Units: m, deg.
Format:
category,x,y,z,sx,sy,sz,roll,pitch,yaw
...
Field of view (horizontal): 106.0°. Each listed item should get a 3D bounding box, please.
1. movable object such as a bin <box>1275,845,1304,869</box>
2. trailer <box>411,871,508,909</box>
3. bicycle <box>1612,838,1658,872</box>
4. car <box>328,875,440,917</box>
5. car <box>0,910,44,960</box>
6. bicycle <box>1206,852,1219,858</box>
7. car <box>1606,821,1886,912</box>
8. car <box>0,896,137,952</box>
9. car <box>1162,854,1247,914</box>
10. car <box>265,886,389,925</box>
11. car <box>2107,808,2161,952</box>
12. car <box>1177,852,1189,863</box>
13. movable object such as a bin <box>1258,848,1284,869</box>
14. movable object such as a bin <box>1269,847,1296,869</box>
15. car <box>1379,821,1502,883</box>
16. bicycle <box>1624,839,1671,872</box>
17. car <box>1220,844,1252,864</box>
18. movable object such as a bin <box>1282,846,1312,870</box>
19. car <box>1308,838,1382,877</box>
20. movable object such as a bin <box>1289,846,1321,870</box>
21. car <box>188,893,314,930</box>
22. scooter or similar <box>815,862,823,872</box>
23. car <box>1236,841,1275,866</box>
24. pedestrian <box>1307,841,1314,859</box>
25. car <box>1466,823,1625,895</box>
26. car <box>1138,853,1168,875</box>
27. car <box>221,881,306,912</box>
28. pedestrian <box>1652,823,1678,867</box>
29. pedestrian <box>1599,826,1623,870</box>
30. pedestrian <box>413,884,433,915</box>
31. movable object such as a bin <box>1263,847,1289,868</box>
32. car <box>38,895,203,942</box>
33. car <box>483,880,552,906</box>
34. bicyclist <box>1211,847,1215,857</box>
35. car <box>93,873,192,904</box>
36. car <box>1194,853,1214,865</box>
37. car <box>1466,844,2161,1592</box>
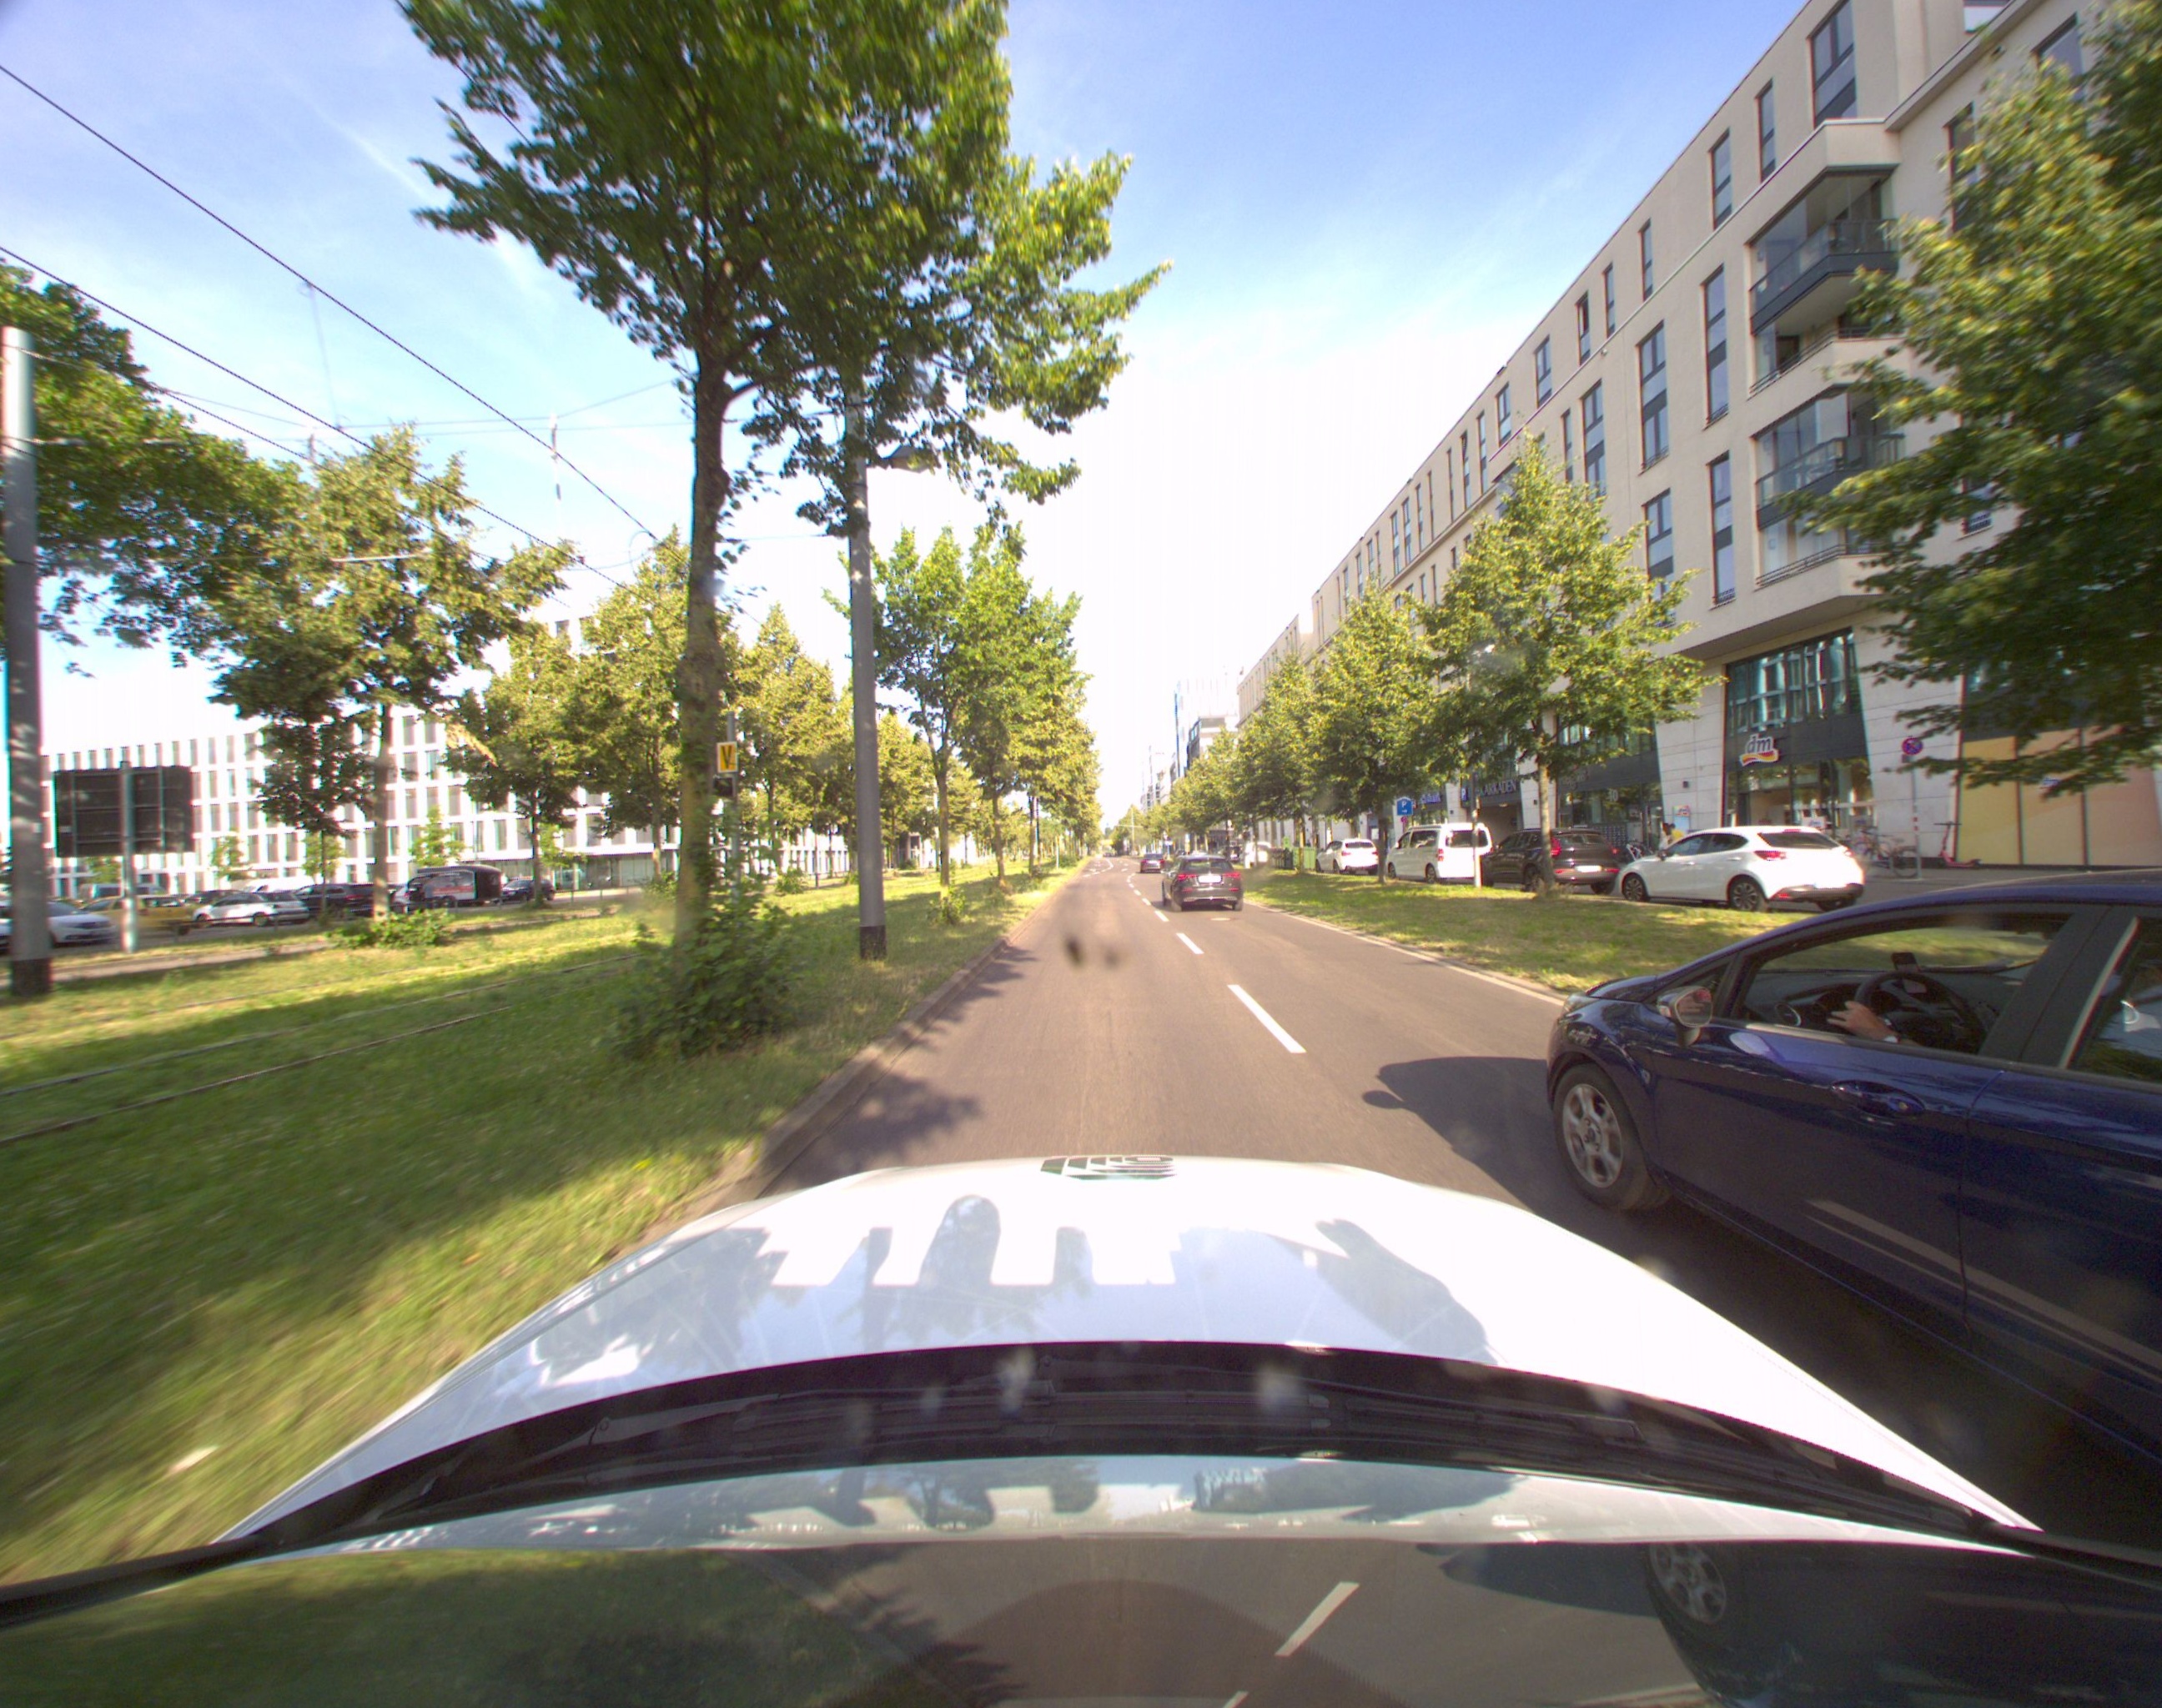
category,x,y,z,sx,sy,sz,roll,pitch,yaw
movable object such as a bin,11.858,0.171,46.325,1.274,1.317,1.190,-1,-1,-3
trailer,-34.775,2.005,45.638,4.339,2.054,1.762,-1,-1,8
bicycle,18.999,0.038,27.982,0.343,1.081,1.733,-6,-1,2
car,-34.113,2.045,39.922,3.977,1.947,1.758,-1,-1,1
car,-34.324,2.480,24.653,3.631,1.428,1.811,-1,-1,3
bicycle,22.820,0.175,141.012,2.129,1.013,0.571,-1,-1,-3
car,11.682,0.208,14.738,1.611,1.412,4.165,-1,0,-1
car,-35.197,2.325,27.315,5.038,1.735,1.887,-1,-1,3
car,3.189,0.740,21.694,1.767,1.424,3.962,-1,0,2
car,-34.109,2.303,36.892,3.977,1.643,1.758,-1,-1,1
car,11.530,0.238,6.152,1.721,1.432,4.724,-1,0,2
car,14.150,0.495,112.968,1.598,1.370,4.164,-1,0,6
movable object such as a bin,11.725,0.292,50.346,1.274,1.291,1.177,-1,-1,-3
movable object such as a bin,11.777,0.245,47.685,1.274,1.237,1.190,-1,-1,-3
car,11.971,-0.047,27.517,1.832,1.876,5.028,-1,0,-1
bicycle,19.418,0.048,27.964,0.343,1.081,1.742,-6,-1,2
car,13.505,-0.003,71.311,1.891,1.708,4.677,-1,1,-1
movable object such as a bin,11.919,0.244,44.981,1.274,1.302,1.190,-1,-1,-3
car,12.196,0.139,37.967,1.725,1.630,4.847,-2,0,-1
movable object such as a bin,11.963,0.208,43.513,1.385,1.237,1.343,-1,-1,28
car,-34.987,2.402,34.384,3.554,1.425,1.726,-1,-1,1
scooter or similar,-33.840,1.697,105.175,0.333,1.226,1.304,-1,-1,14
car,12.541,0.006,58.809,1.822,1.711,4.293,-1,0,-1
pedestrian,22.020,-0.395,78.151,0.535,1.763,0.646,-1,-1,1
car,11.754,0.131,20.978,1.722,1.650,4.341,-1,0,2
car,5.110,0.683,58.058,1.853,1.524,3.786,-1,0,1
car,-73.338,3.744,73.168,1.791,2.532,5.052,-1,-1,17
pedestrian,20.721,-0.320,28.915,0.517,1.522,0.591,0,-1,-33
pedestrian,19.400,-0.220,29.807,0.515,1.574,0.536,0,-1,-19
pedestrian,-32.334,2.229,40.023,0.520,1.480,0.568,-1,-1,0
movable object such as a bin,11.733,0.233,49.091,1.274,1.237,1.190,-1,-1,-3
car,-35.137,2.335,29.866,3.970,1.560,1.857,-1,-1,3
car,-34.088,2.334,49.391,1.675,1.393,3.758,0,0,-2
bicyclist,22.795,-0.285,141.009,0.573,1.707,0.540,-1,-1,-3
car,-70.141,2.519,60.981,1.836,2.158,4.510,-1,-1,13
car,13.865,0.548,91.972,1.702,1.242,3.905,-1,0,0
car,2.844,0.692,2.467,1.554,1.424,3.908,-1,0,1
